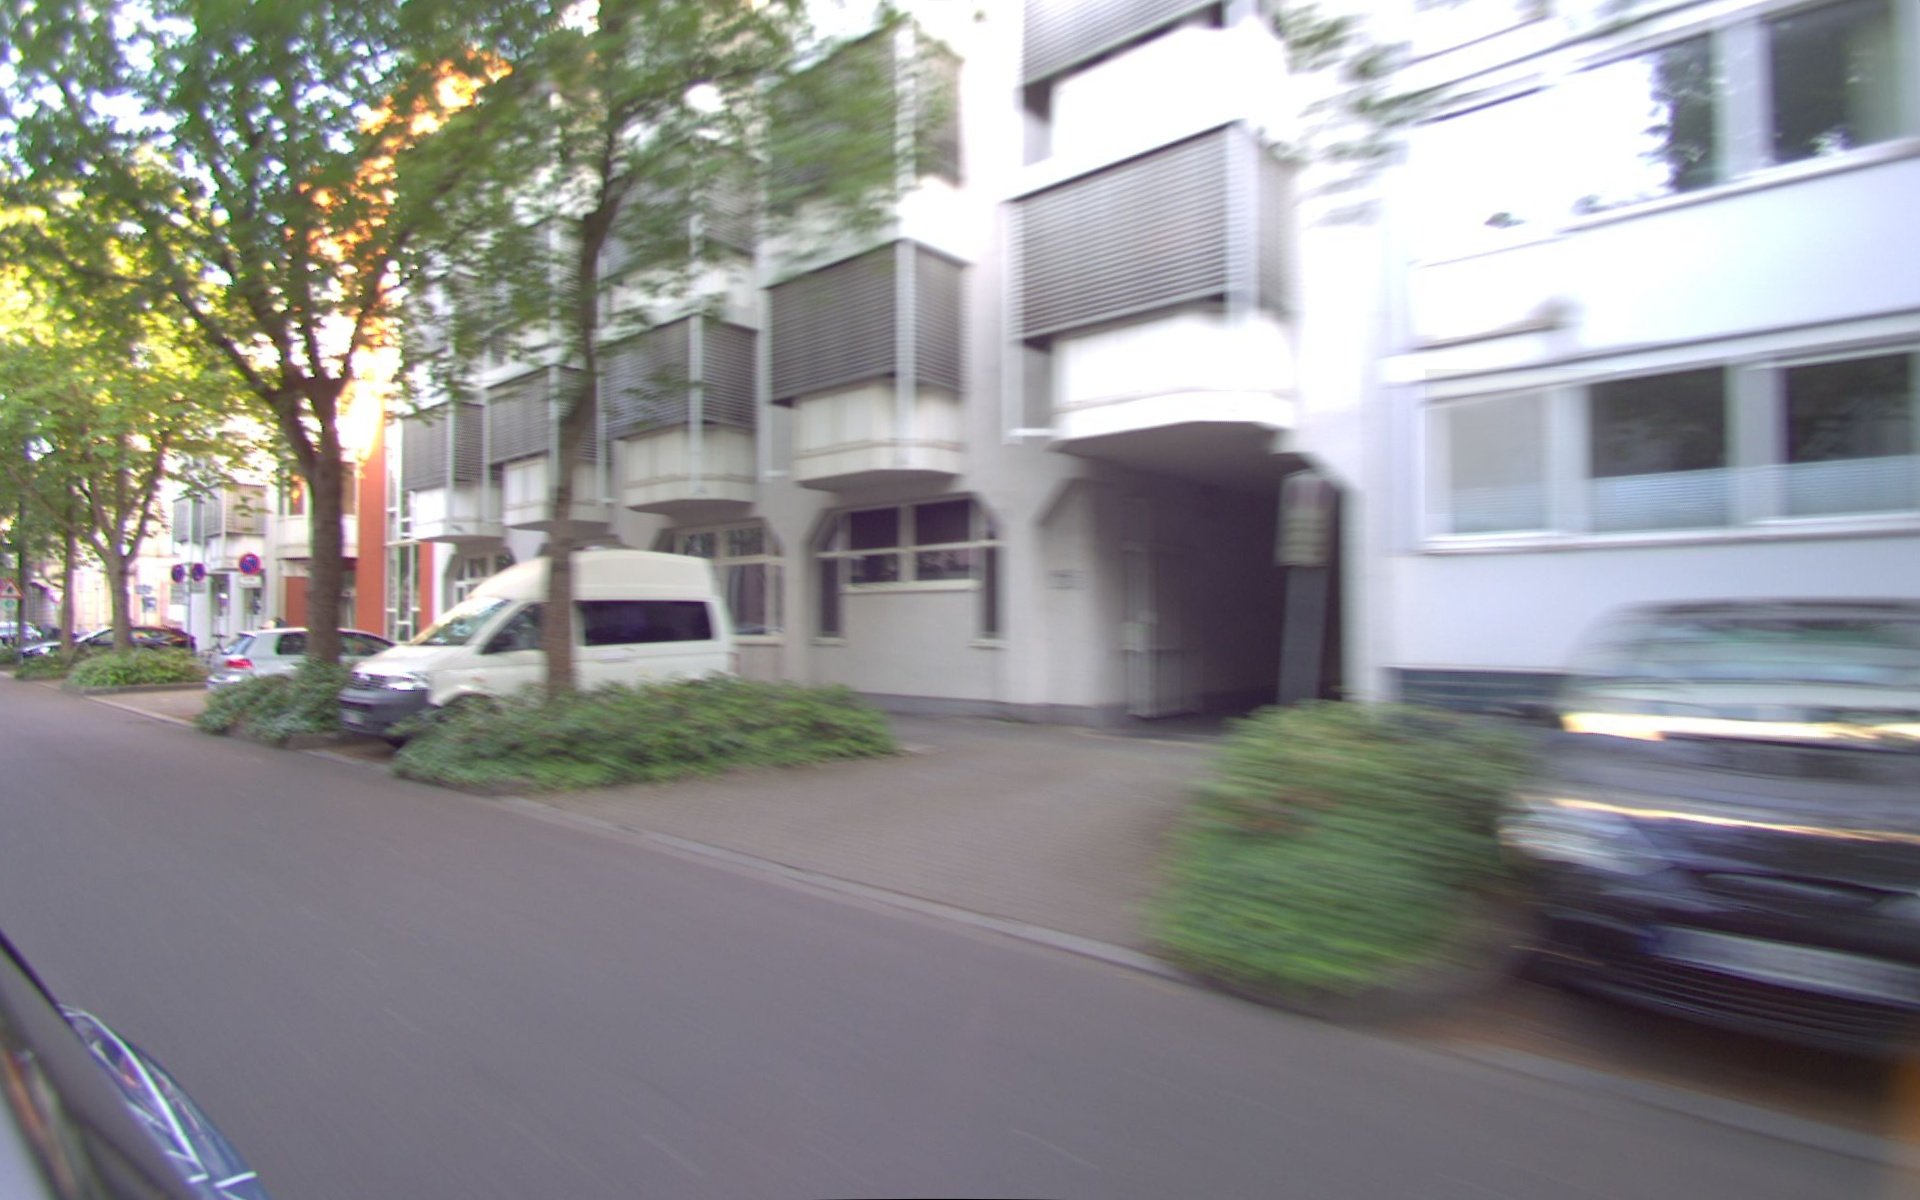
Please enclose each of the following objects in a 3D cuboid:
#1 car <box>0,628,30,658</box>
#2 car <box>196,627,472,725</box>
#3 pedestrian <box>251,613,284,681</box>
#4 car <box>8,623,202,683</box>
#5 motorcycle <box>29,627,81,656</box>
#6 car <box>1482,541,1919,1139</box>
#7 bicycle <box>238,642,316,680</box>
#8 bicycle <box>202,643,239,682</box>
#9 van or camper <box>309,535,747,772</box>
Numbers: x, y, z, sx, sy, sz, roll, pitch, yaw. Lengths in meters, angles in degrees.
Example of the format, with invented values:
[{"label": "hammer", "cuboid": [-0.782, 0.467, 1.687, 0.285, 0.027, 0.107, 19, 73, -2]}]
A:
[{"label": "car", "cuboid": [-53.416, 2.311, 55.189, 1.674, 1.645, 3.808, -2, -4, 41]}, {"label": "car", "cuboid": [-11.284, 1.284, 18.434, 1.622, 1.539, 4.008, -2, -2, 44]}, {"label": "pedestrian", "cuboid": [-18.249, 1.229, 26.678, 0.628, 1.758, 0.680, 1, -2, -40]}, {"label": "car", "cuboid": [-27.025, 1.652, 32.130, 1.788, 1.772, 4.420, -1, -3, 37]}, {"label": "motorcycle", "cuboid": [-38.521, 1.765, 43.080, 0.572, 1.151, 1.604, -2, 0, 43]}, {"label": "car", "cuboid": [3.851, 0.749, 4.862, 1.619, 1.695, 4.492, -1, -3, 37]}, {"label": "bicycle", "cuboid": [-18.314, 1.631, 27.151, 1.729, 0.995, 0.456, 0, -2, -2]}, {"label": "bicycle", "cuboid": [-19.992, 1.664, 27.381, 0.448, 0.995, 1.761, 1, -2, -25]}, {"label": "van or camper", "cuboid": [-5.252, 0.634, 12.913, 1.944, 2.446, 4.767, -2, -3, 41]}]
